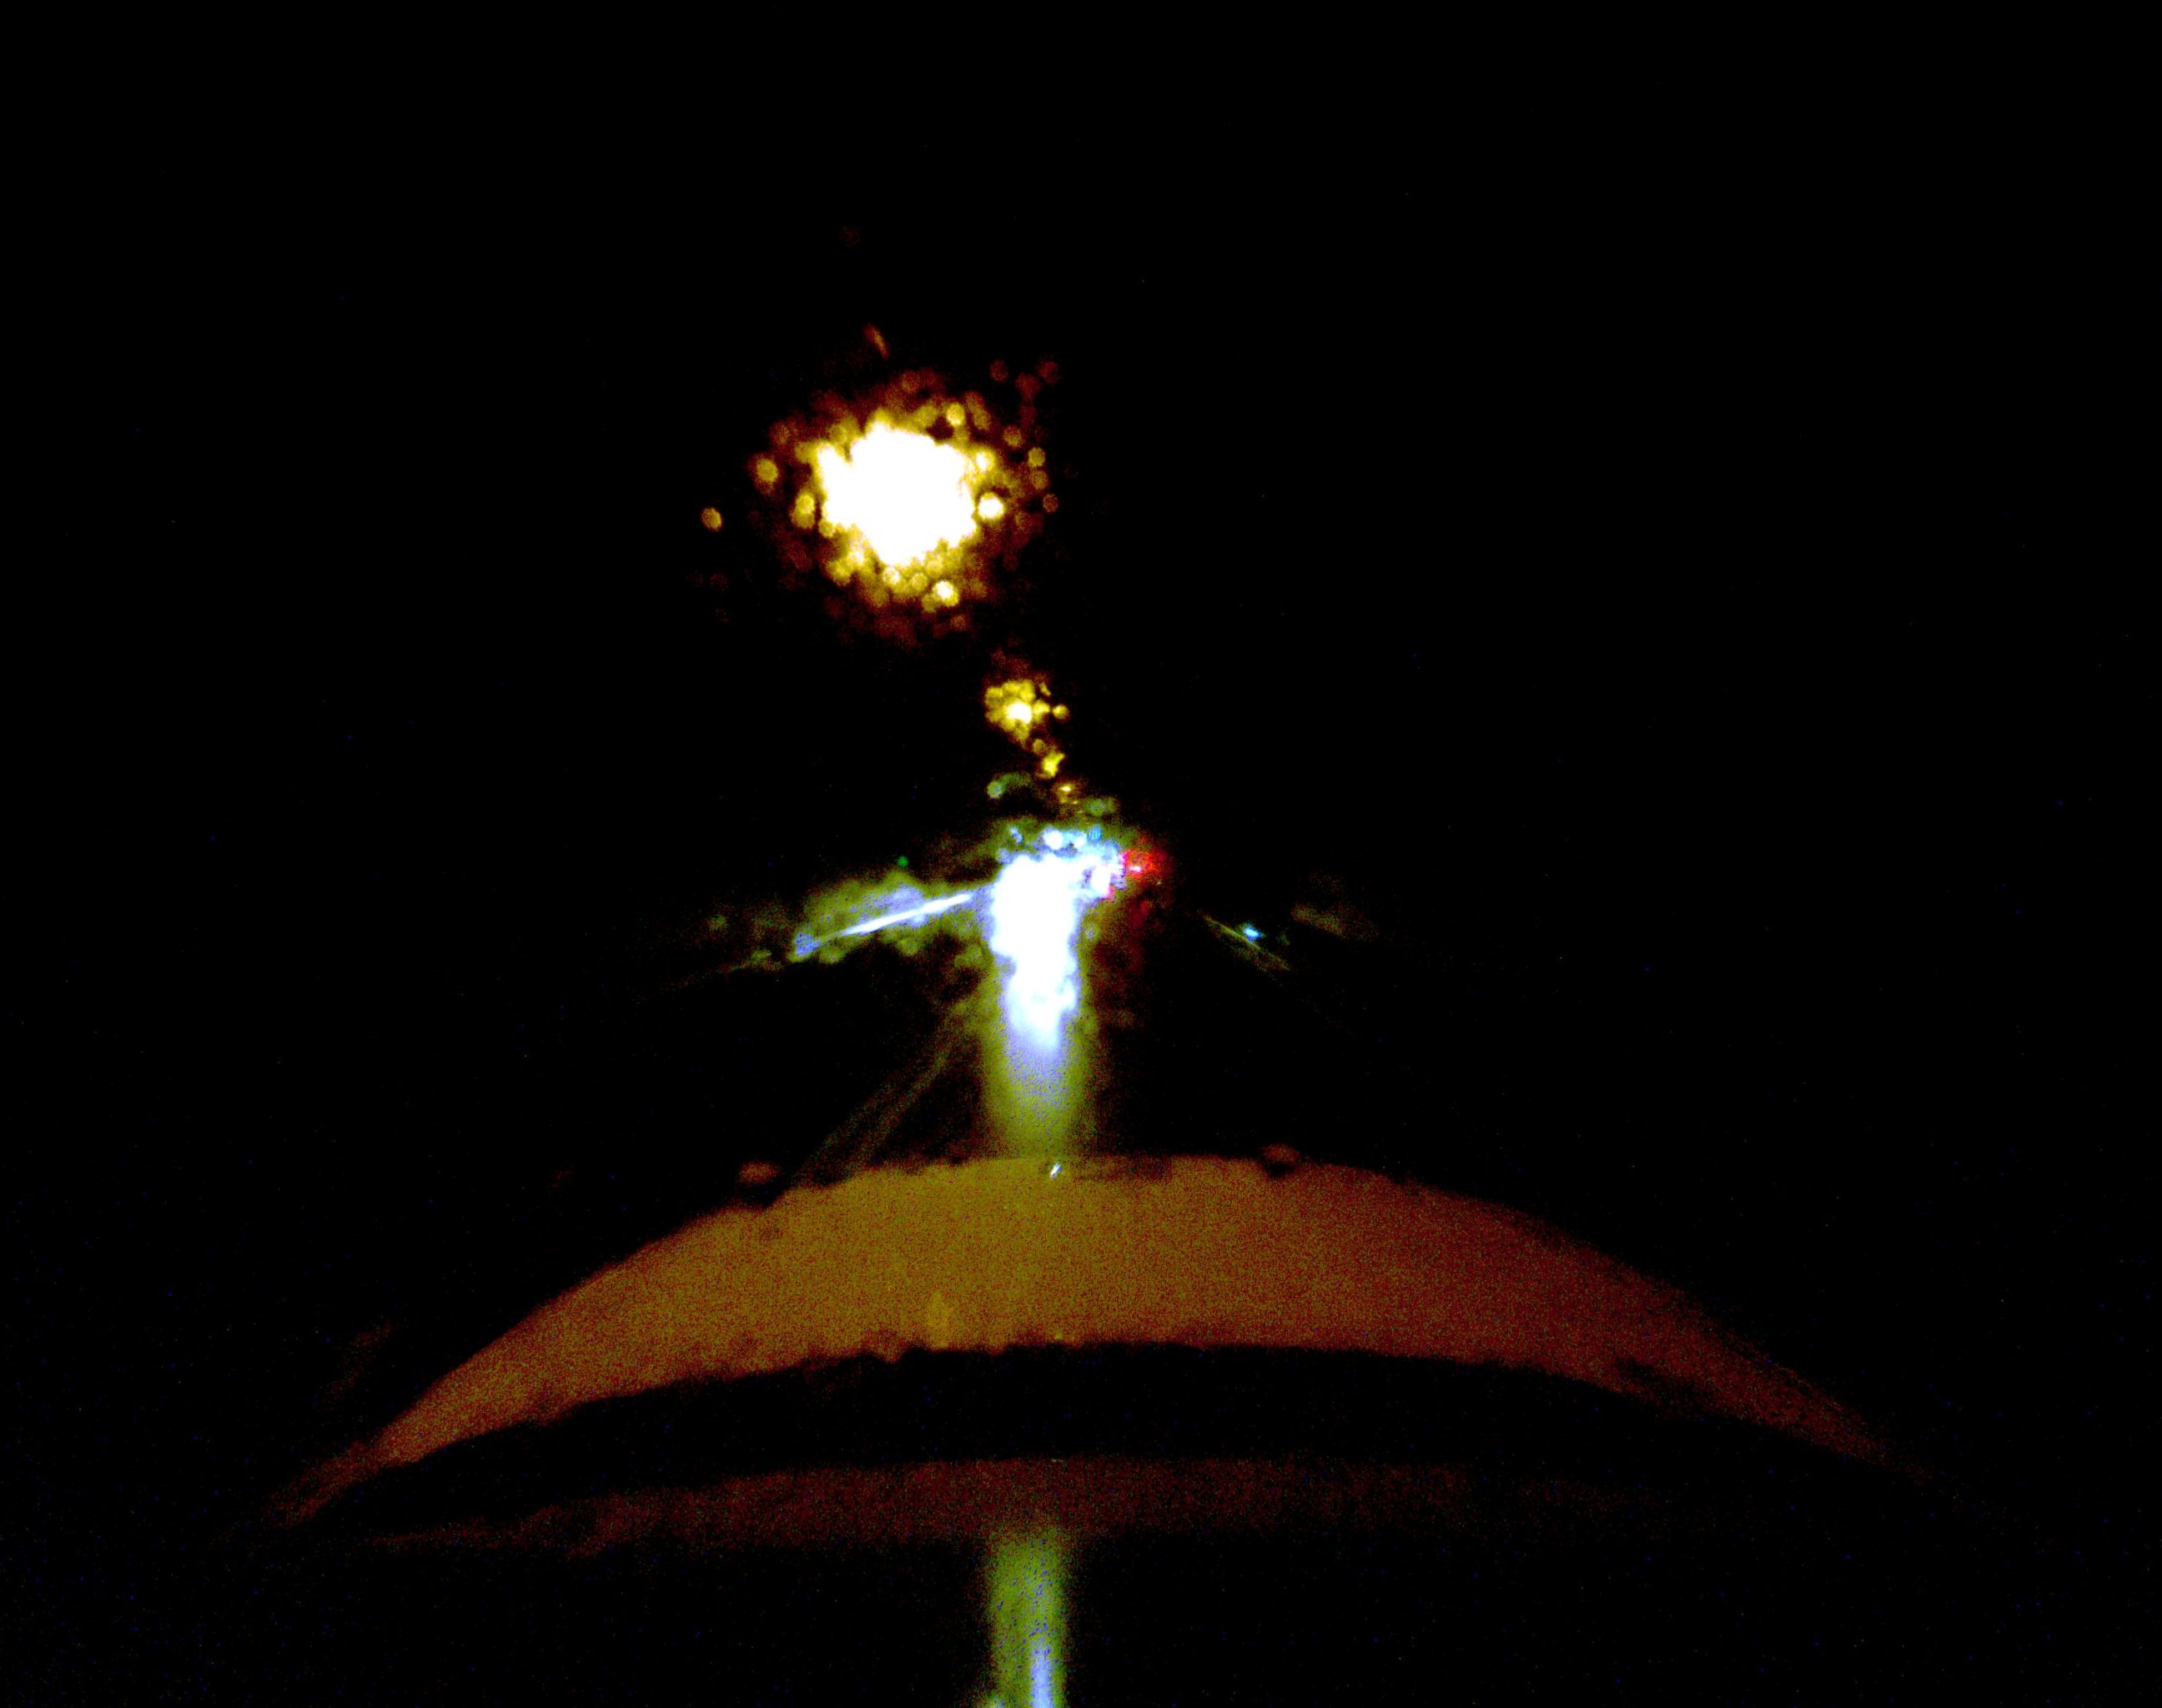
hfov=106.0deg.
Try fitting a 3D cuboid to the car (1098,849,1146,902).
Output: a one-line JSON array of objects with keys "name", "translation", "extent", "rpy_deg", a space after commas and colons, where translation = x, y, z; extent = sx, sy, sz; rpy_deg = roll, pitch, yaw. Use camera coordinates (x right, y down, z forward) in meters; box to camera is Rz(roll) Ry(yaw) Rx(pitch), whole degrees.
[{"name": "car", "translation": [1.505, 0.738, 30.279], "extent": [1.629, 1.758, 4.148], "rpy_deg": [-2, 0, 2]}]

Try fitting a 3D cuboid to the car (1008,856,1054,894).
[{"name": "car", "translation": [-2.169, 0.887, 36.245], "extent": [1.629, 1.535, 3.648], "rpy_deg": [-2, 0, 2]}]
